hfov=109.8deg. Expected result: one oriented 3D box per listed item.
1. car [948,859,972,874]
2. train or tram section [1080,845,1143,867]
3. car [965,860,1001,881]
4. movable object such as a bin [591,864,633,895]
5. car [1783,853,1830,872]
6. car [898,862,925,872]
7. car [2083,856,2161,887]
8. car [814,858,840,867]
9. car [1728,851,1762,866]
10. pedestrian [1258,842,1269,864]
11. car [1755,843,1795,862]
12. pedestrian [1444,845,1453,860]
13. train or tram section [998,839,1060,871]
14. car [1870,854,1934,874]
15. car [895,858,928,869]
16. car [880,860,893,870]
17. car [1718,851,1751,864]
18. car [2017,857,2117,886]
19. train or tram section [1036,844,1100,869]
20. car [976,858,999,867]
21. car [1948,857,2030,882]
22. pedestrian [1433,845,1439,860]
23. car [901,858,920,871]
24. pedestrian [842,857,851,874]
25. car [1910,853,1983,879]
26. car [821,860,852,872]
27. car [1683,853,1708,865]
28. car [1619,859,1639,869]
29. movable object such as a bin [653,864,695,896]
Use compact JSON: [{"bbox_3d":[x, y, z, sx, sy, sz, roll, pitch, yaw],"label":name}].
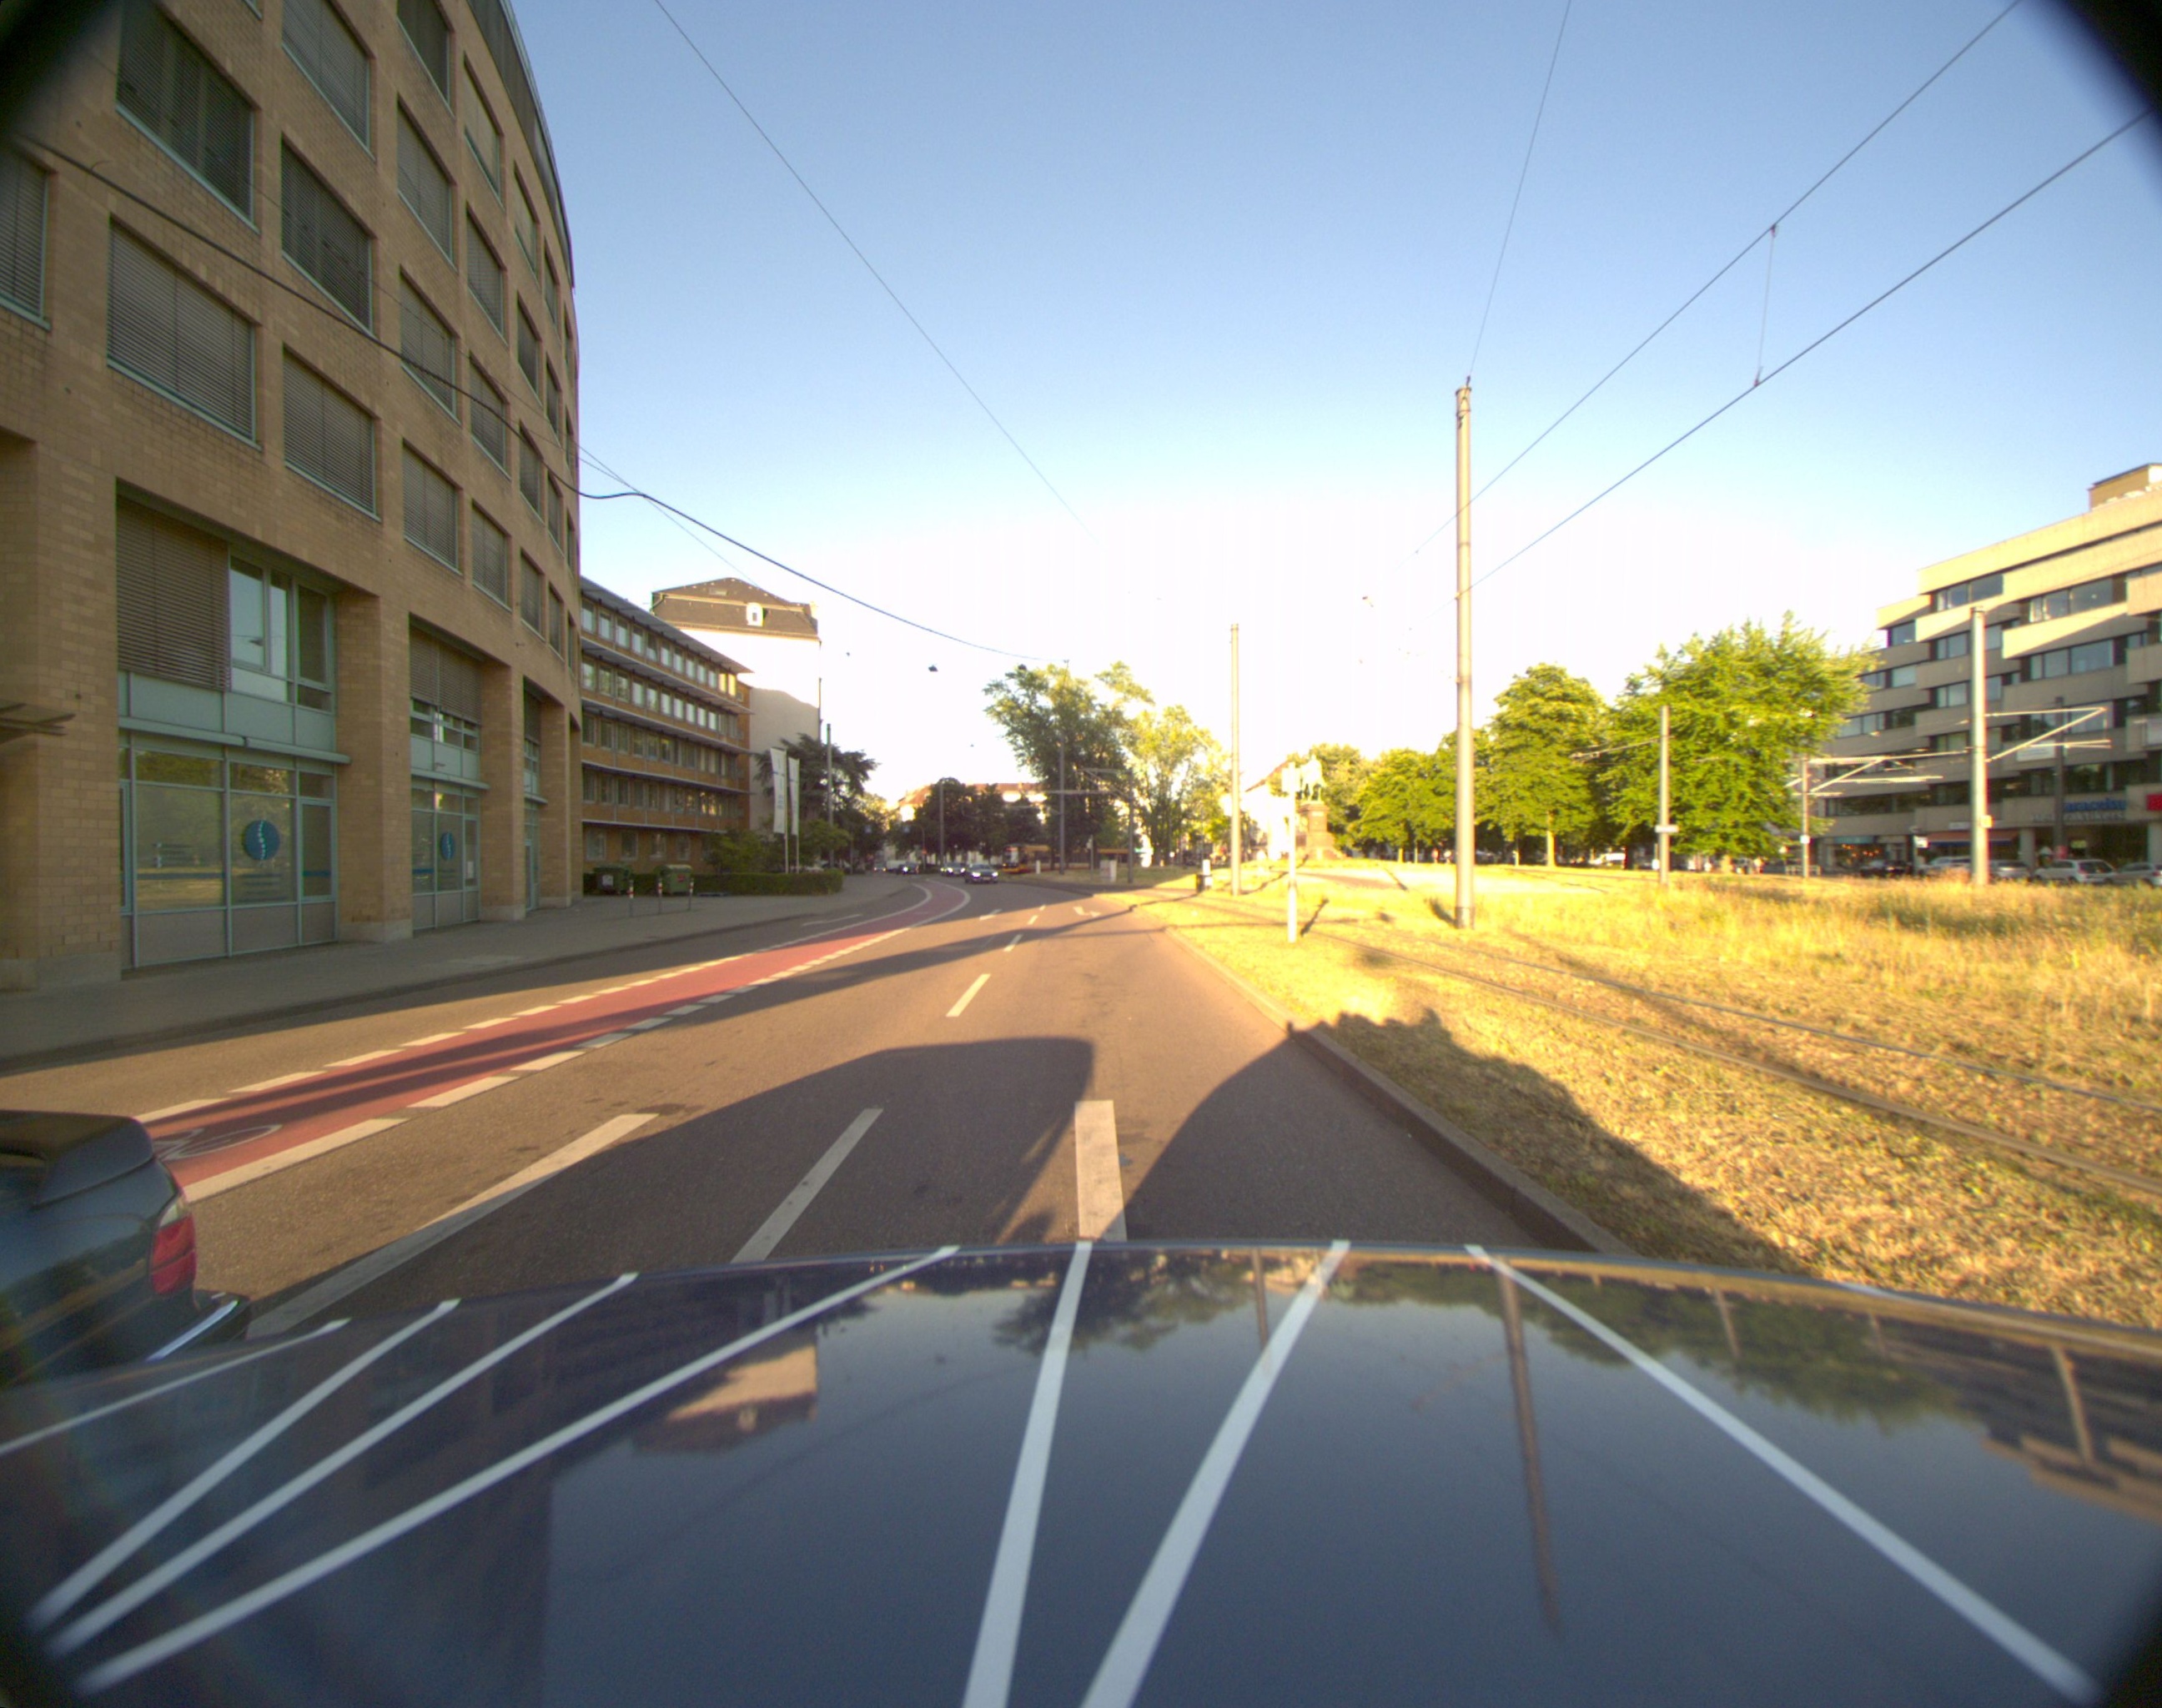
[{"bbox_3d":[-12.153,1.269,75.957,1.822,1.473,4.130,0,-1,-17],"label":"car"},{"bbox_3d":[4.696,0.229,112.877,2.918,3.123,12.671,-1,0,36],"label":"train or tram section"},{"bbox_3d":[-7.120,1.203,54.913,1.822,1.473,4.130,0,-1,-18],"label":"car"},{"bbox_3d":[-21.246,1.151,34.430,1.345,1.415,0.923,0,-1,-7],"label":"movable object such as a bin"},{"bbox_3d":[70.280,0.845,73.704,1.935,1.784,4.217,-1,-1,23],"label":"car"},{"bbox_3d":[-27.212,2.032,121.824,4.067,1.542,1.999,0,-1,-6],"label":"car"},{"bbox_3d":[54.042,0.892,38.850,1.755,1.542,4.008,-1,-1,26],"label":"car"},{"bbox_3d":[-45.516,1.492,136.059,4.404,1.603,1.726,0,-1,-23],"label":"car"},{"bbox_3d":[76.213,0.512,87.280,1.755,1.653,4.007,-1,-1,23],"label":"car"},{"bbox_3d":[14.236,-0.059,59.288,0.476,1.680,0.835,0,0,-14],"label":"pedestrian"},{"bbox_3d":[72.703,-0.140,79.680,1.755,1.932,4.217,-1,-1,23],"label":"car"},{"bbox_3d":[38.286,-0.120,79.117,0.619,1.571,0.553,0,-1,2],"label":"pedestrian"},{"bbox_3d":[-6.005,0.076,91.040,2.944,3.563,13.383,-1,0,16],"label":"train or tram section"},{"bbox_3d":[64.269,0.813,59.548,1.861,1.547,4.076,-1,-1,23],"label":"car"},{"bbox_3d":[-28.136,1.605,126.135,5.078,1.891,2.122,0,-1,2],"label":"car"},{"bbox_3d":[-28.994,1.655,113.444,1.822,1.473,4.131,-1,-1,-14],"label":"car"},{"bbox_3d":[72.230,0.377,84.080,1.707,1.382,4.008,-1,-1,24],"label":"car"},{"bbox_3d":[56.237,0.991,43.453,1.755,1.542,4.007,-1,-1,23],"label":"car"},{"bbox_3d":[-1.532,0.312,102.717,2.924,3.123,12.880,-1,0,27],"label":"train or tram section"},{"bbox_3d":[-17.147,1.532,139.042,4.011,1.714,1.701,0,-1,-1],"label":"car"},{"bbox_3d":[58.520,1.013,49.077,1.755,1.542,4.007,-1,-1,23],"label":"car"},{"bbox_3d":[37.203,-0.168,79.616,0.453,1.503,0.553,0,-1,2],"label":"pedestrian"},{"bbox_3d":[-20.316,1.245,90.406,1.823,1.473,4.129,0,-1,-19],"label":"car"},{"bbox_3d":[-24.147,1.163,78.276,0.591,1.781,0.822,0,-1,11],"label":"pedestrian"},{"bbox_3d":[61.333,0.859,53.934,1.755,1.784,4.217,-1,-1,23],"label":"car"},{"bbox_3d":[-33.952,1.685,105.542,4.072,1.560,1.835,0,-1,-19],"label":"car"},{"bbox_3d":[83.685,0.667,103.535,1.793,1.570,4.008,-1,-1,27],"label":"car"},{"bbox_3d":[91.206,1.647,126.455,1.861,1.547,4.076,-1,-1,23],"label":"car"},{"bbox_3d":[-18.245,1.153,34.046,0.972,1.429,1.347,-1,-1,19],"label":"movable object such as a bin"}]
